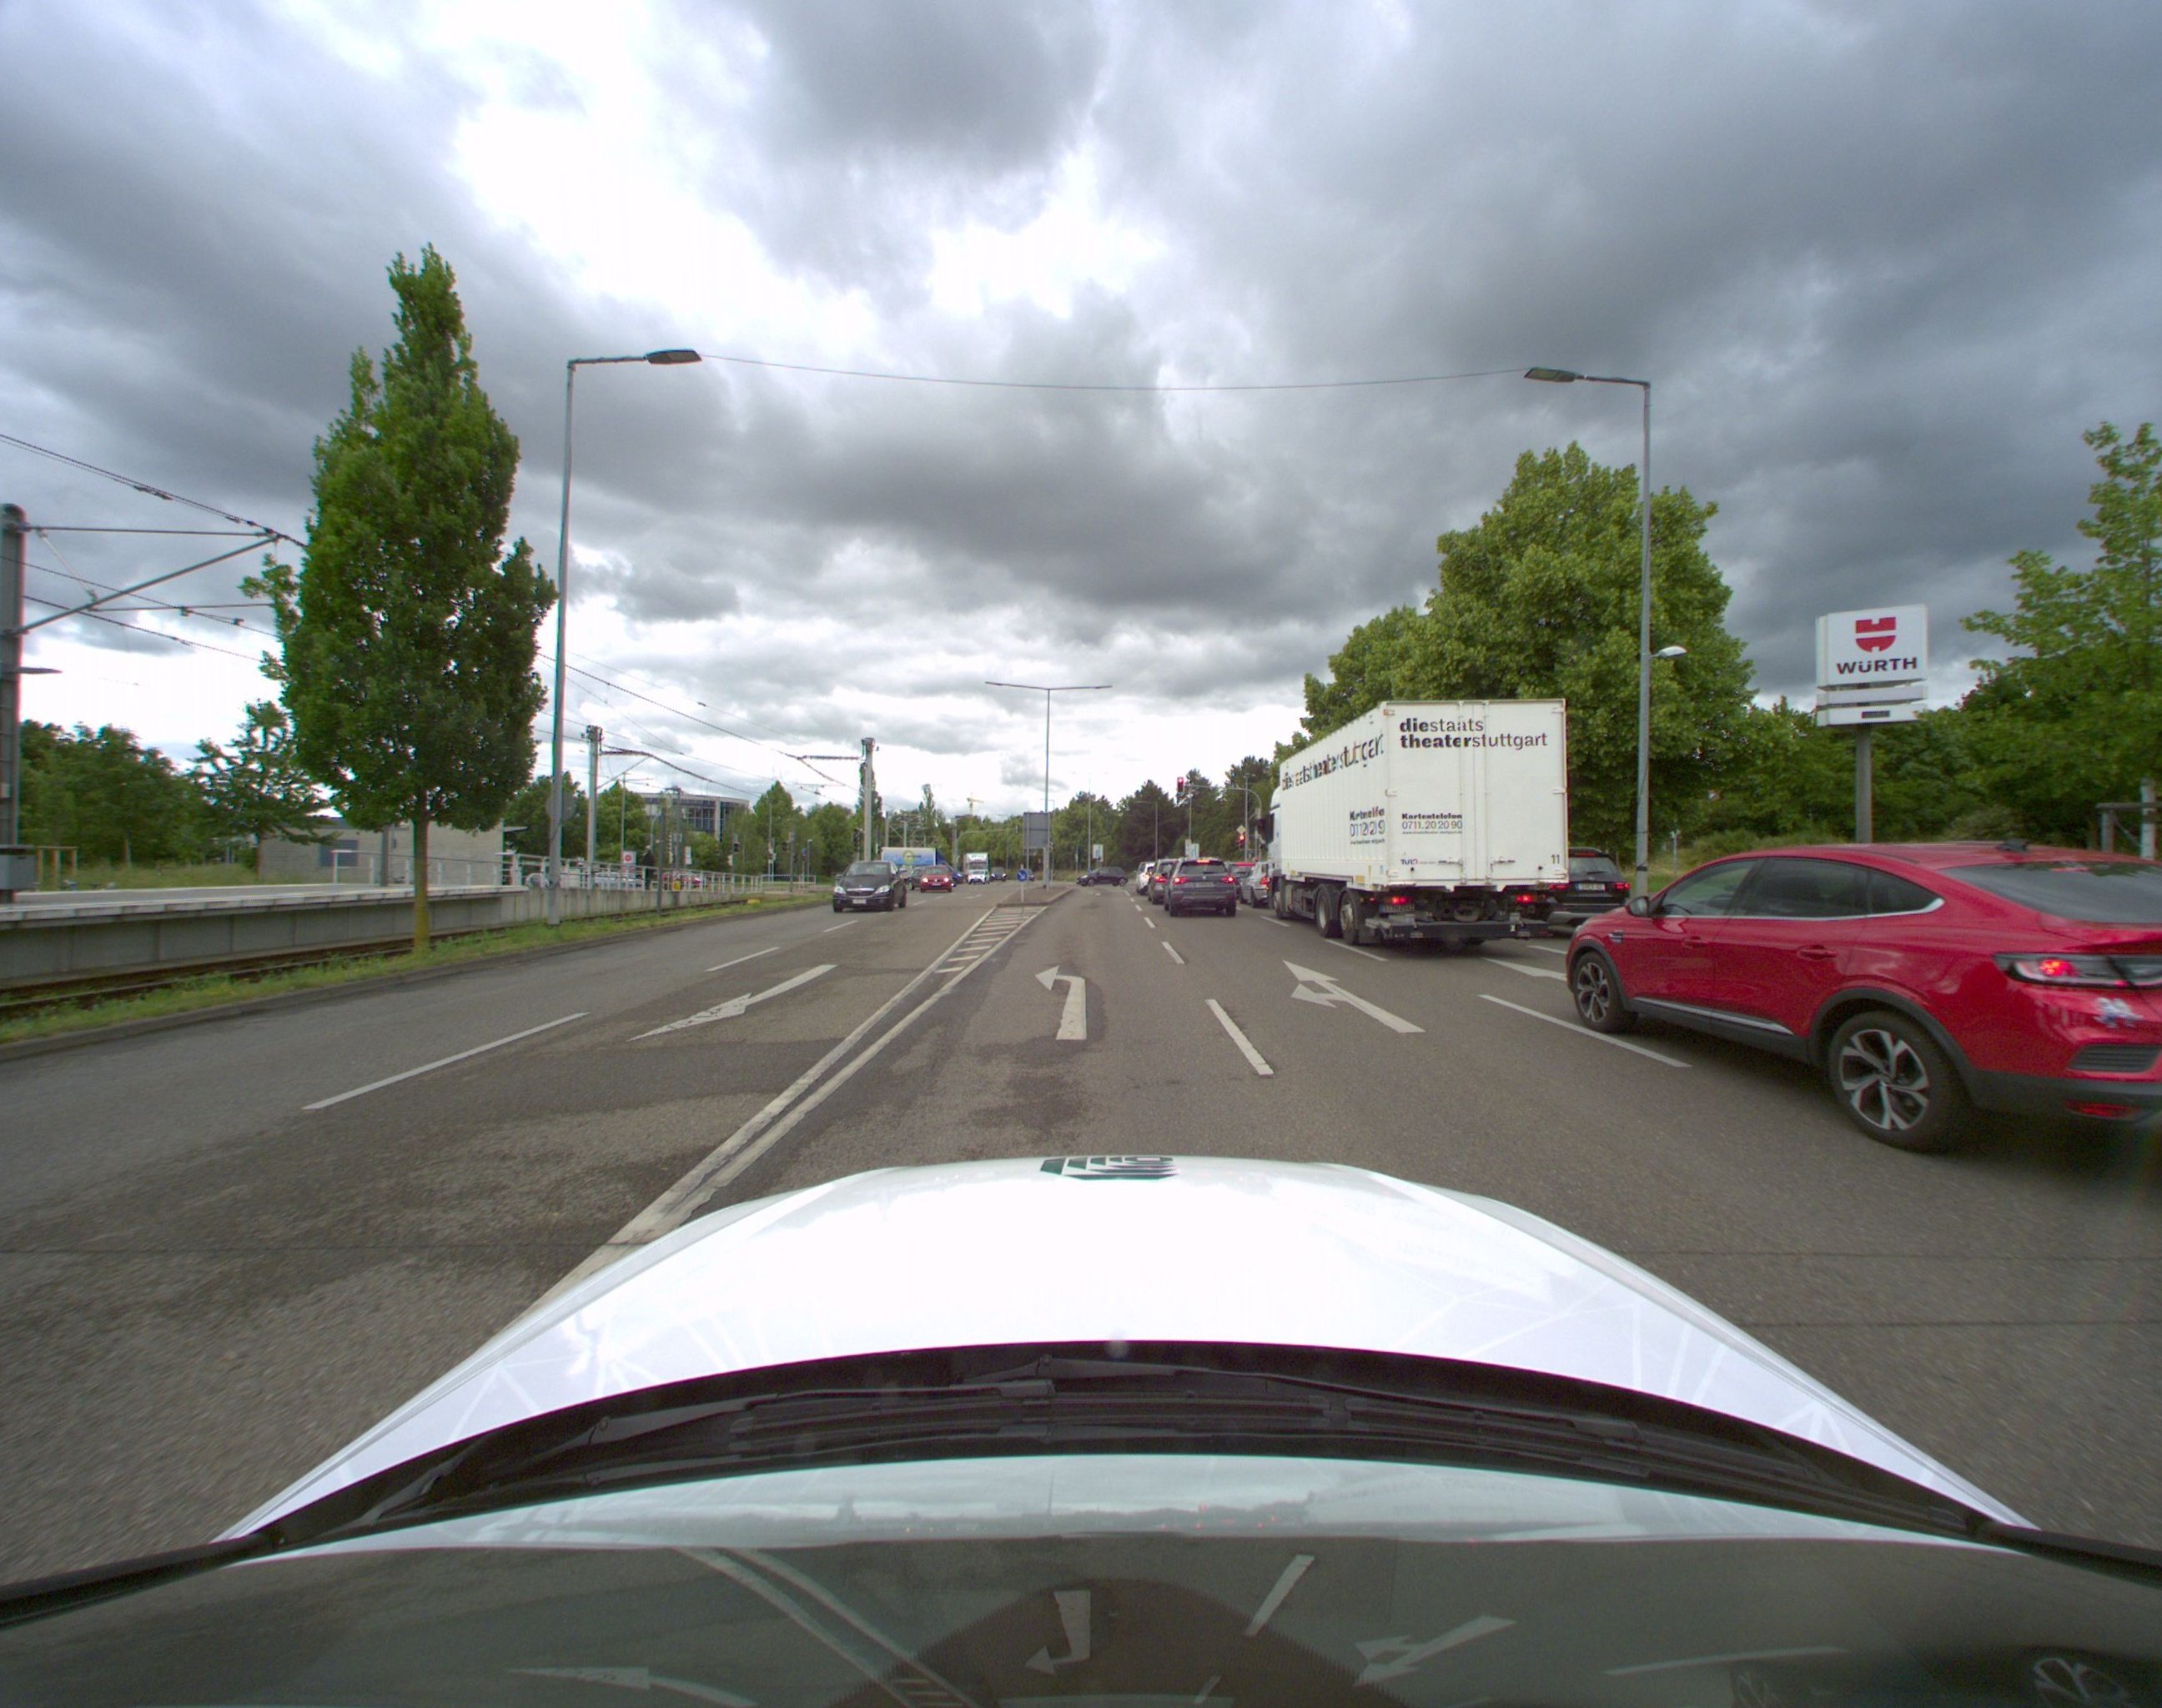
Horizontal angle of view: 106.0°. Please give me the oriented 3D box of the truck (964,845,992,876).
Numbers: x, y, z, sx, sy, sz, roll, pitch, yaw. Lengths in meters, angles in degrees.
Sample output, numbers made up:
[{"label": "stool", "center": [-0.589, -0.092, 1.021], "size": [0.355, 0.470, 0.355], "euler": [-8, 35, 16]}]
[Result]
[{"label": "truck", "center": [-12.762, 0.802, 101.833], "size": [2.654, 3.649, 9.492], "euler": [0, -1, -3]}]

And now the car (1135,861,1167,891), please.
[{"label": "car", "center": [3.628, 1.151, 42.565], "size": [1.529, 1.504, 2.671], "euler": [-1, -1, 2]}]

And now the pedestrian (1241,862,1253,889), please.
[{"label": "pedestrian", "center": [9.134, 1.184, 44.730], "size": [0.607, 1.453, 0.355], "euler": [-1, 0, 10]}]

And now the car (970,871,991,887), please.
[{"label": "car", "center": [-10.518, 2.577, 85.314], "size": [1.770, 1.508, 3.746], "euler": [0, 1, 0]}]

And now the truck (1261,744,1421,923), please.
[{"label": "truck", "center": [5.903, -0.432, 19.117], "size": [2.560, 3.705, 4.109], "euler": [-1, 0, 3]}]

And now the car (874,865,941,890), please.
[{"label": "car", "center": [-11.848, 1.609, 55.797], "size": [3.962, 1.596, 2.006], "euler": [-1, 0, 10]}]

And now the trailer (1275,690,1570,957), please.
[{"label": "trailer", "center": [5.722, -0.417, 15.345], "size": [2.555, 3.705, 7.769], "euler": [-1, 0, 3]}]

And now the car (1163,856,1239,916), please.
[{"label": "car", "center": [3.191, 0.820, 22.328], "size": [1.691, 1.486, 4.003], "euler": [-1, -1, 3]}]

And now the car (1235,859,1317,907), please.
[{"label": "car", "center": [6.081, 0.878, 25.841], "size": [1.804, 1.354, 4.121], "euler": [-1, -1, 3]}]

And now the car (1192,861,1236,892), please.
[{"label": "car", "center": [6.457, 1.093, 39.817], "size": [1.540, 1.404, 4.000], "euler": [-1, -1, 1]}]

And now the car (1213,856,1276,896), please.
[{"label": "car", "center": [6.361, 0.862, 32.106], "size": [1.818, 1.435, 4.215], "euler": [-1, -1, 3]}]

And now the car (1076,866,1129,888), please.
[{"label": "car", "center": [1.621, 1.751, 62.372], "size": [3.921, 1.496, 1.595], "euler": [-1, 0, -6]}]

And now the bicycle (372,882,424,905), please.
[{"label": "bicycle", "center": [-31.547, 1.819, 37.633], "size": [1.807, 1.015, 0.406], "euler": [0, -1, -41]}]

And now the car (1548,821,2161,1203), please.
[{"label": "car", "center": [5.024, 0.629, 5.372], "size": [1.699, 1.524, 4.325], "euler": [-1, 0, 5]}]

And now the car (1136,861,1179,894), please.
[{"label": "car", "center": [3.457, 1.052, 37.549], "size": [1.715, 1.422, 4.358], "euler": [-1, -1, 2]}]

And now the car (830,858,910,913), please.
[{"label": "car", "center": [-6.653, 0.969, 26.007], "size": [1.722, 1.574, 3.702], "euler": [-1, -1, -3]}]

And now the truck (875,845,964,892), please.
[{"label": "truck", "center": [-13.741, 1.164, 69.267], "size": [7.251, 3.598, 2.679], "euler": [-1, 2, -15]}]

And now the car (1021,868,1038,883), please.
[{"label": "car", "center": [-6.467, 2.707, 101.916], "size": [1.914, 1.576, 3.992], "euler": [-1, 2, -7]}]

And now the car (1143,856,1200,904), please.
[{"label": "car", "center": [3.108, 0.867, 28.636], "size": [1.791, 1.523, 4.191], "euler": [-1, 0, 4]}]

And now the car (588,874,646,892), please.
[{"label": "car", "center": [-37.710, 2.343, 66.240], "size": [3.964, 1.377, 1.521], "euler": [-1, -1, 8]}]

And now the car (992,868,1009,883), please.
[{"label": "car", "center": [-10.519, 2.764, 106.799], "size": [1.910, 1.728, 3.999], "euler": [-1, 1, -1]}]

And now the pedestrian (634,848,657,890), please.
[{"label": "pedestrian", "center": [-19.221, 0.661, 35.962], "size": [0.570, 1.828, 0.793], "euler": [0, -1, -2]}]

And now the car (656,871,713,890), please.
[{"label": "car", "center": [-33.522, 2.229, 68.900], "size": [3.964, 1.516, 1.736], "euler": [-1, 0, 8]}]

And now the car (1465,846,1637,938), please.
[{"label": "car", "center": [8.901, 0.645, 15.702], "size": [1.564, 1.571, 3.060], "euler": [1, 1, 1]}]

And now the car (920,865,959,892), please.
[{"label": "car", "center": [-8.190, 1.379, 47.339], "size": [1.698, 1.488, 4.082], "euler": [-1, -1, -3]}]
